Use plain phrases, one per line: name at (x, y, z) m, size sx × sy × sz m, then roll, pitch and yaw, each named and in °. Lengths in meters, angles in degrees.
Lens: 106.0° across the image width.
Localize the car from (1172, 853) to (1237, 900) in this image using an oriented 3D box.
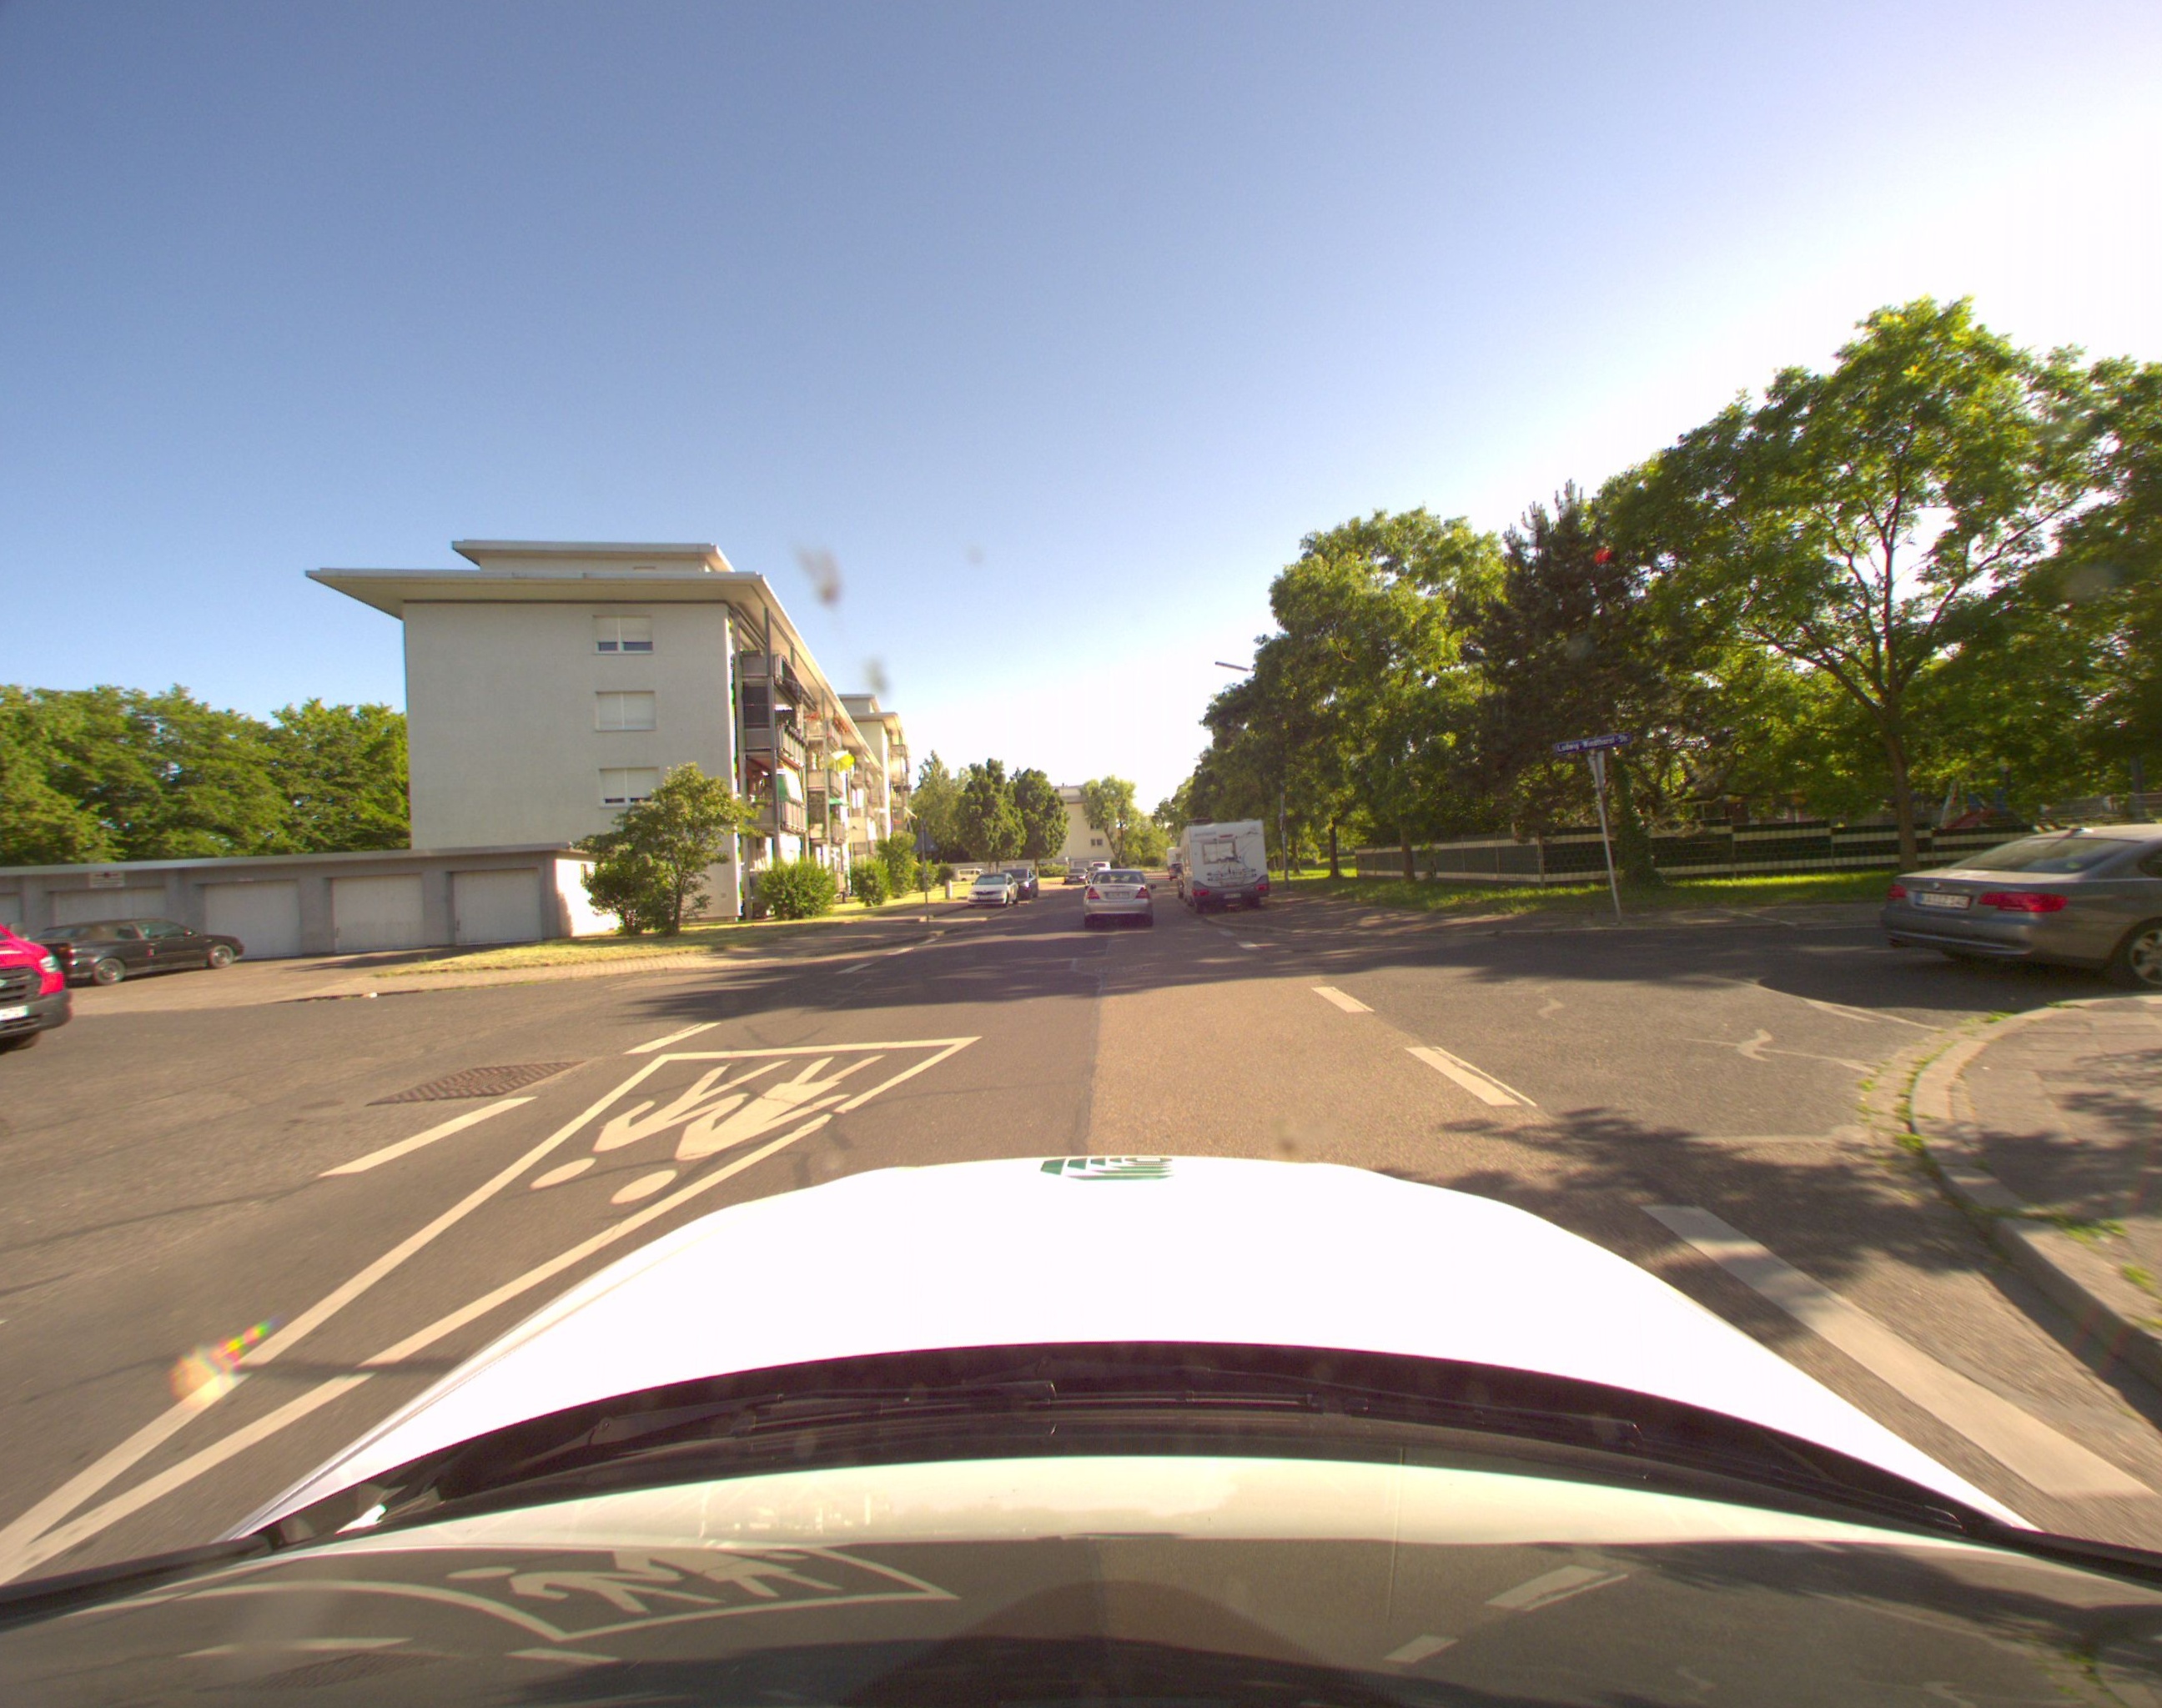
car at (4.967, 0.880, 33.265) m, size 1.986 × 1.640 × 4.538 m, roll -5°, pitch -1°, yaw 2°

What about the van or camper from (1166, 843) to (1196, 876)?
van or camper at (9.339, 0.495, 76.440) m, size 2.484 × 2.845 × 6.863 m, roll -4°, pitch -1°, yaw 6°

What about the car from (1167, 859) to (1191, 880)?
car at (8.313, 1.289, 69.375) m, size 1.712 × 1.524 × 4.435 m, roll -6°, pitch -1°, yaw 5°

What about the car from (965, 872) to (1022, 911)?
car at (-3.751, 1.582, 35.522) m, size 1.639 × 1.466 × 4.336 m, roll -3°, pitch -1°, yaw 5°

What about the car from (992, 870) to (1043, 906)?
car at (-3.223, 1.721, 42.139) m, size 1.906 × 1.604 × 4.815 m, roll -4°, pitch -1°, yaw 3°

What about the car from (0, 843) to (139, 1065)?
car at (-14.774, 1.295, 9.046) m, size 5.884 × 2.428 × 2.214 m, roll -4°, pitch 1°, yaw 1°

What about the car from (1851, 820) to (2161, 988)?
car at (10.381, 0.365, 7.659) m, size 4.402 × 1.337 × 1.749 m, roll -3°, pitch 1°, yaw 6°

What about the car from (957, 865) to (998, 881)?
car at (-14.551, 2.695, 114.429) m, size 5.068 × 1.951 × 2.246 m, roll -4°, pitch -1°, yaw 14°

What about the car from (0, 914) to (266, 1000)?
car at (-21.974, 2.285, 18.870) m, size 1.950 × 1.357 × 4.360 m, roll -4°, pitch 0°, yaw -5°

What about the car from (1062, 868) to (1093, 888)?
car at (-0.256, 2.039, 70.616) m, size 2.024 × 1.493 × 5.266 m, roll -4°, pitch -1°, yaw 7°

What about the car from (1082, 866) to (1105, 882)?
car at (1.320, 2.014, 83.458) m, size 1.823 × 1.518 × 4.230 m, roll -2°, pitch -1°, yaw 8°

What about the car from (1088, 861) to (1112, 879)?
car at (2.174, 1.757, 90.041) m, size 2.003 × 1.886 × 5.202 m, roll -2°, pitch -1°, yaw 8°

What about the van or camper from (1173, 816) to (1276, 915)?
van or camper at (4.466, 0.364, 26.488) m, size 2.342 × 2.596 × 6.432 m, roll -6°, pitch -1°, yaw 4°

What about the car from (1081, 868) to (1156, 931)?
car at (1.015, 1.107, 20.801) m, size 1.725 × 1.434 × 3.442 m, roll -2°, pitch -2°, yaw 4°
